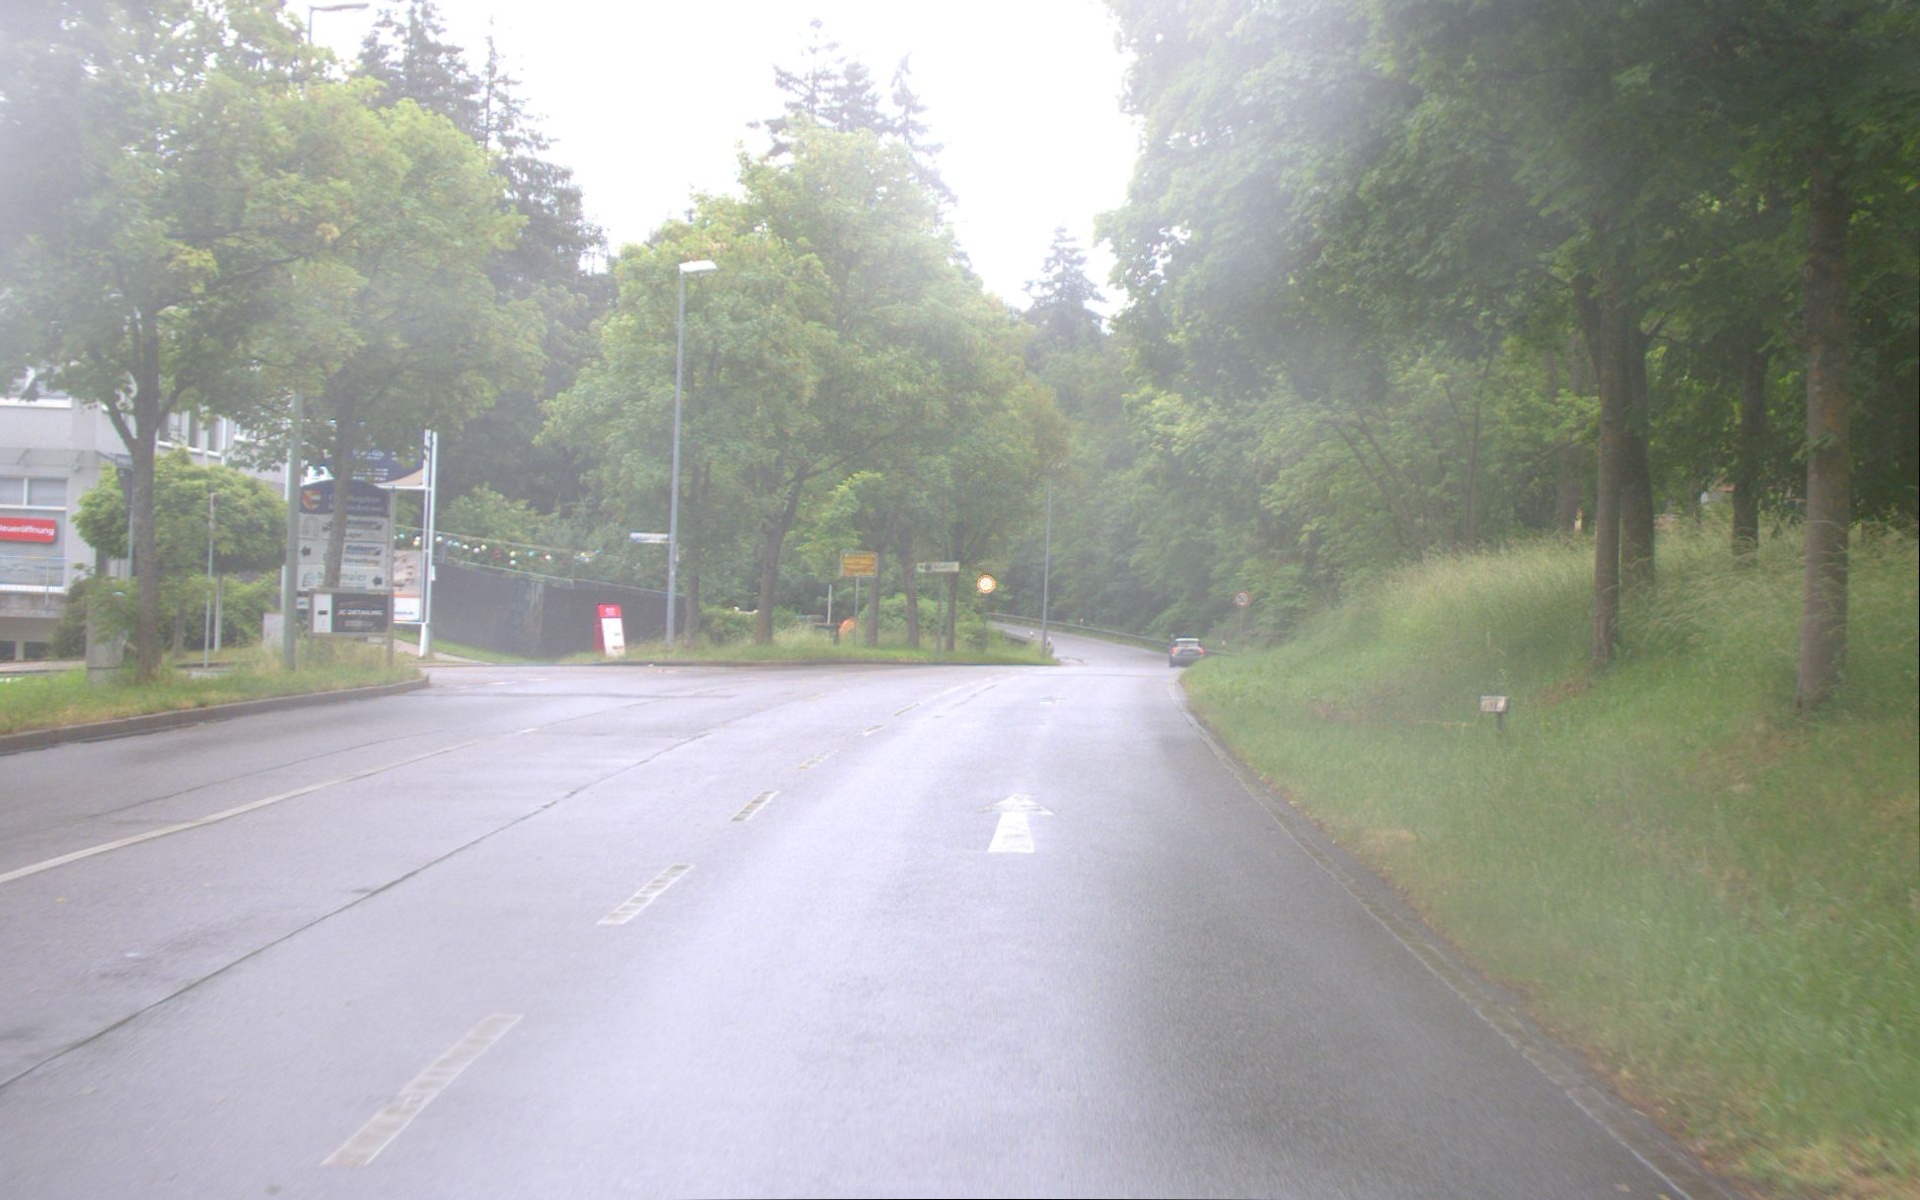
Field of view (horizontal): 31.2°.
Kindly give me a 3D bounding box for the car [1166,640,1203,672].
[{"bbox_3d":[10.742,2.661,164.607,1.737,1.505,3.999,0,0,3],"label":"car"}]
